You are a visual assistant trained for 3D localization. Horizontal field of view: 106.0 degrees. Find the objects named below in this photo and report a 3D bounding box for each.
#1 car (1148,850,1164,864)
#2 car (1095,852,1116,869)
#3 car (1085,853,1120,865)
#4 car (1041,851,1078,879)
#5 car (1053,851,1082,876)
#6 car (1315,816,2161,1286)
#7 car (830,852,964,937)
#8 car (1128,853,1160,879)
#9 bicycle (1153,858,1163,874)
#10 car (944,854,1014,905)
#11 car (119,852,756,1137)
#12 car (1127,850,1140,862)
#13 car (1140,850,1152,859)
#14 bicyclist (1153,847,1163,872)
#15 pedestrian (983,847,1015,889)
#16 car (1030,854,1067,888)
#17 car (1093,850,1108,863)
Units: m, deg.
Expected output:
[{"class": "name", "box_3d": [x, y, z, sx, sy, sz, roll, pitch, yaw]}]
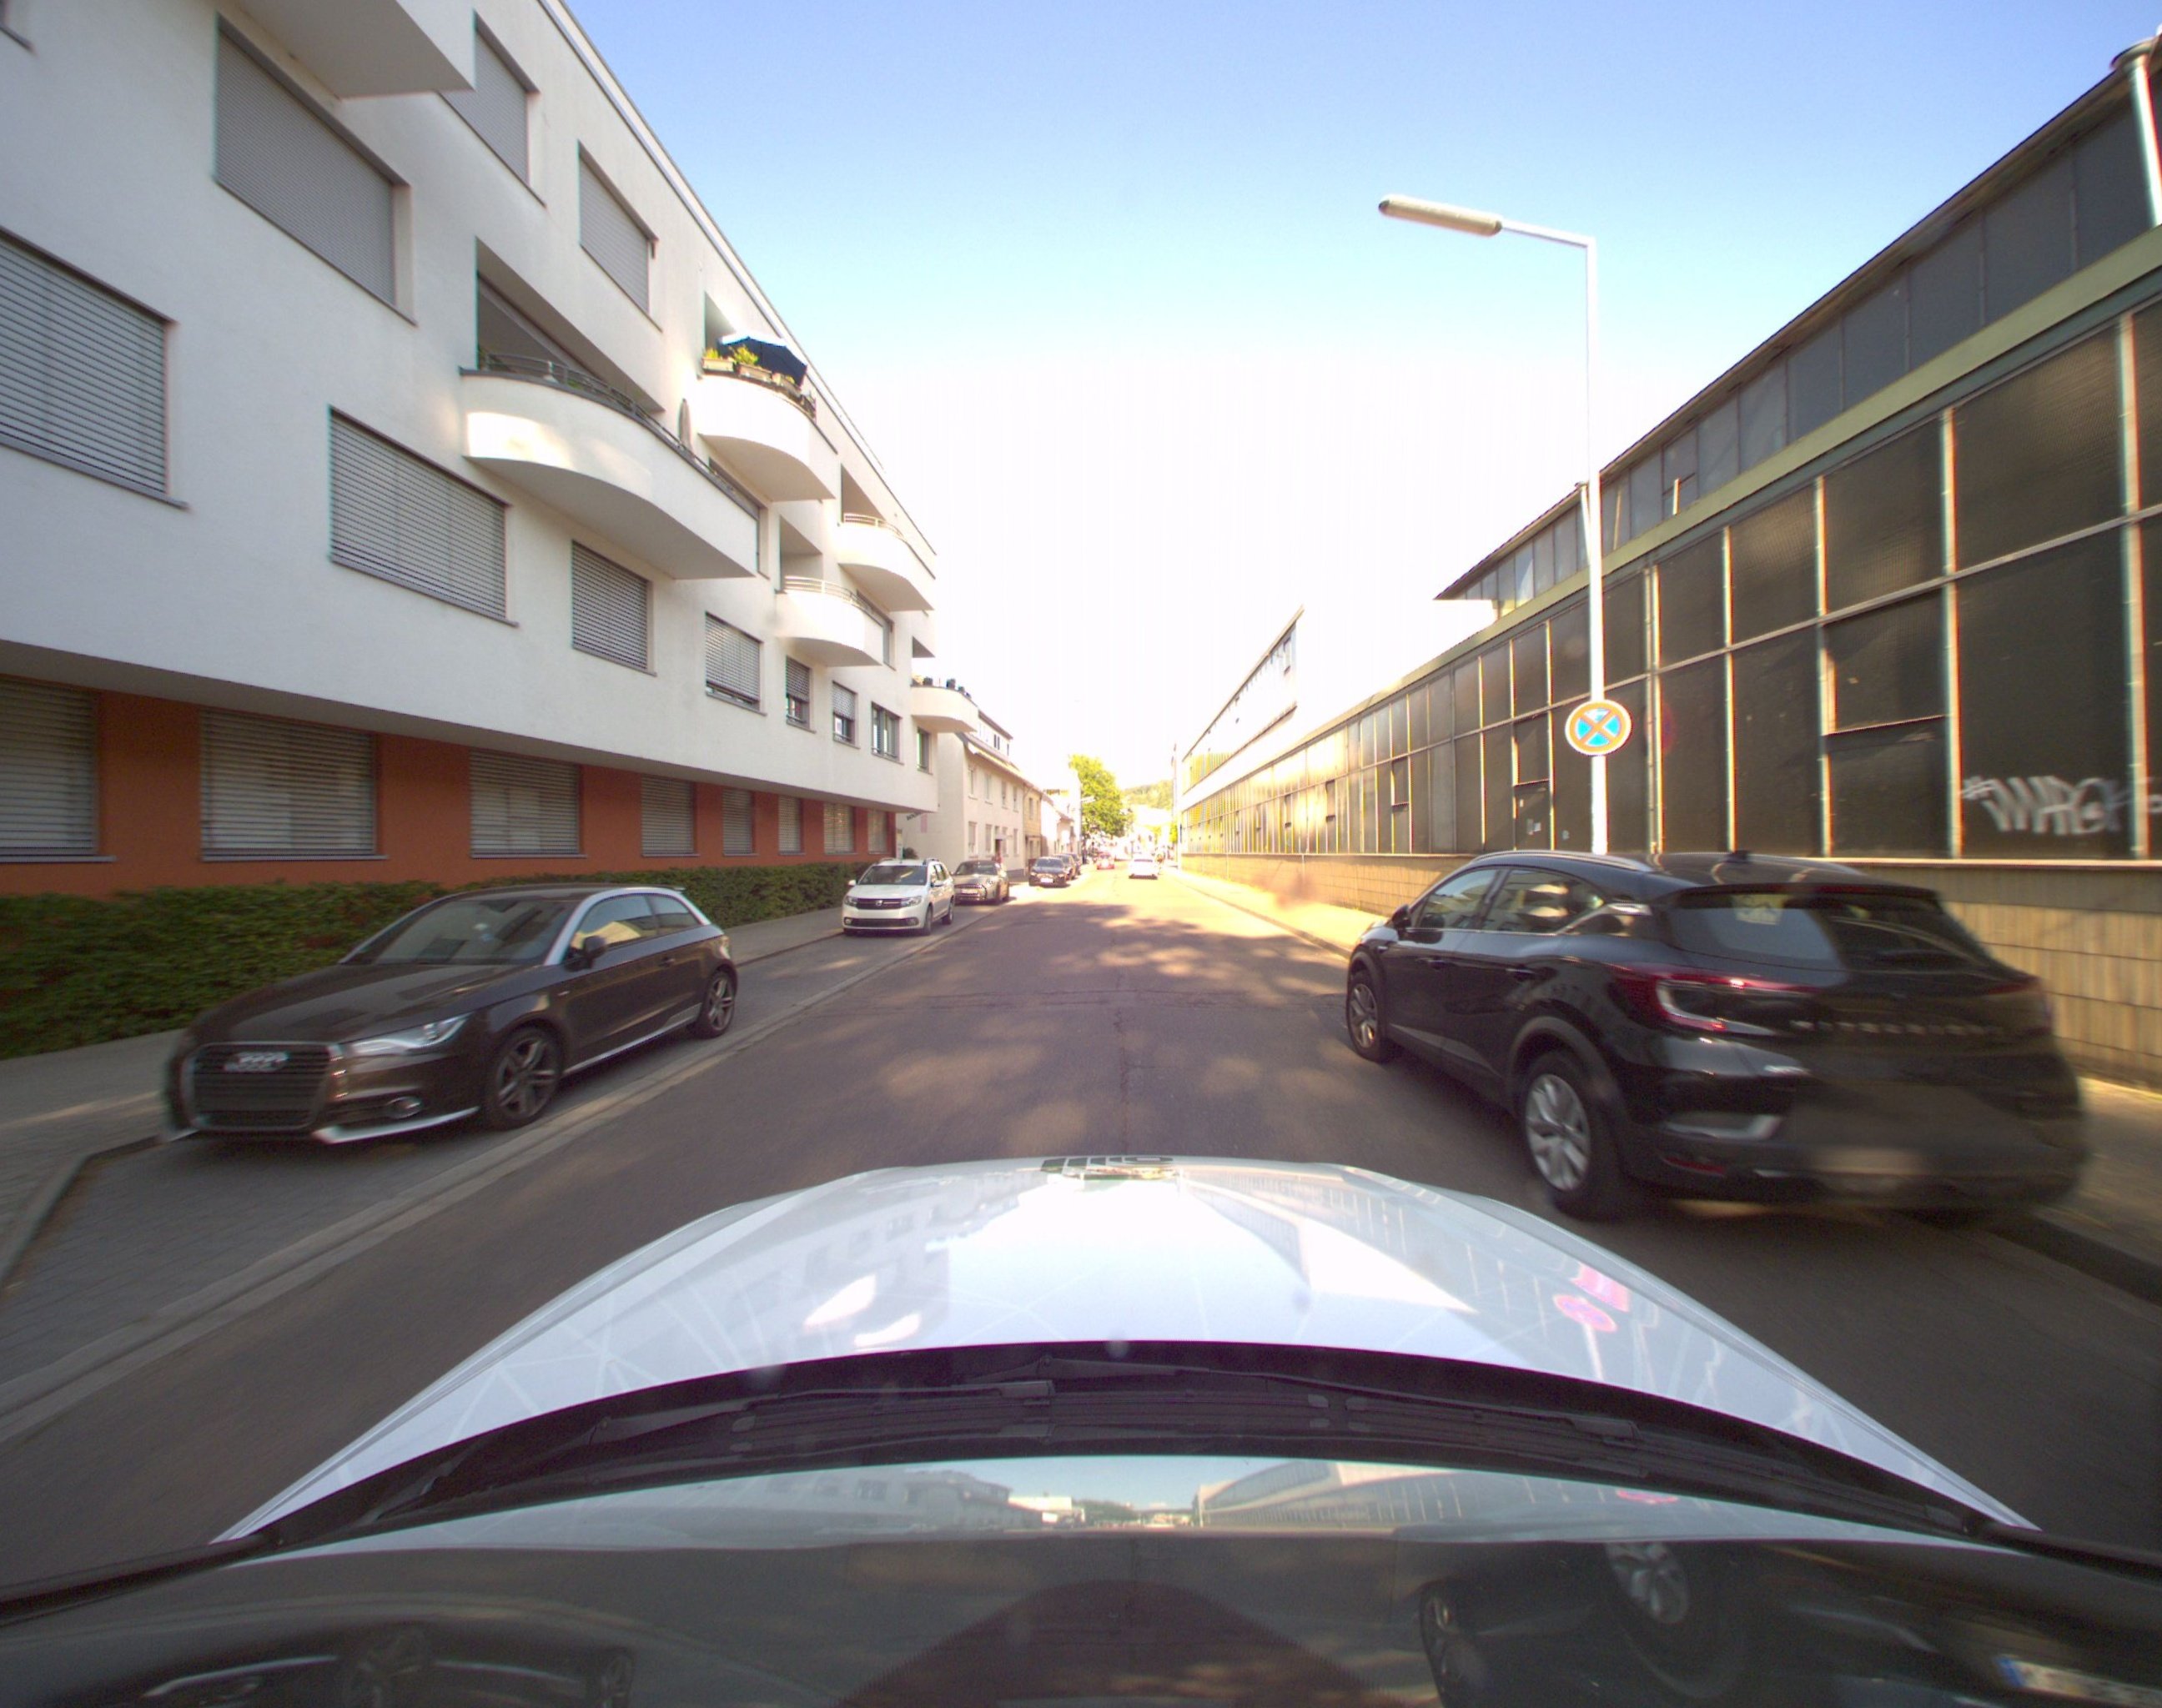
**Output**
[{"class": "car", "box_3d": [8.908, 0.371, 96.711, 1.623, 1.587, 4.072, -3, 0, 3]}, {"class": "car", "box_3d": [2.275, 0.611, 75.176, 1.835, 1.491, 4.147, 0, 0, 3]}, {"class": "car", "box_3d": [2.683, 0.617, 100.500, 4.106, 1.491, 1.853, 0, 0, 9]}, {"class": "car", "box_3d": [-1.308, 0.668, 50.701, 1.849, 1.587, 4.340, 2, 1, 4]}, {"class": "car", "box_3d": [-0.955, 0.659, 59.107, 1.801, 1.587, 4.196, 1, 1, 3]}, {"class": "car", "box_3d": [2.966, 0.699, 5.040, 1.801, 1.587, 4.405, 1, 0, 1]}, {"class": "car", "box_3d": [-3.861, 0.793, 17.942, 1.852, 1.587, 4.620, 2, 0, 0]}, {"class": "car", "box_3d": [3.847, 0.716, 50.395, 1.835, 1.491, 4.146, 0, 0, 2]}, {"class": "bicycle", "box_3d": [5.487, 0.828, 58.194, 0.695, 1.130, 2.405, 0, 0, 4]}, {"class": "car", "box_3d": [-3.338, 0.805, 27.262, 1.661, 1.536, 3.859, 1, 0, 2]}, {"class": "car", "box_3d": [-4.095, 0.738, 6.118, 1.668, 1.433, 3.772, 1, 0, 1]}, {"class": "car", "box_3d": [8.099, 0.251, 126.637, 1.846, 1.791, 4.608, 0, 0, 1]}, {"class": "car", "box_3d": [11.796, 0.091, 147.491, 1.832, 1.491, 4.152, 0, 0, 7]}, {"class": "bicyclist", "box_3d": [5.484, 0.414, 58.151, 0.695, 1.790, 1.042, 0, -1, 4]}, {"class": "pedestrian", "box_3d": [-3.645, 0.609, 36.266, 0.853, 1.818, 1.138, 3, 1, 26]}, {"class": "car", "box_3d": [-1.563, 0.796, 40.278, 1.679, 1.535, 4.333, 2, 0, -1]}, {"class": "car", "box_3d": [2.706, 0.295, 114.192, 1.844, 1.791, 4.613, 0, 0, 5]}]
